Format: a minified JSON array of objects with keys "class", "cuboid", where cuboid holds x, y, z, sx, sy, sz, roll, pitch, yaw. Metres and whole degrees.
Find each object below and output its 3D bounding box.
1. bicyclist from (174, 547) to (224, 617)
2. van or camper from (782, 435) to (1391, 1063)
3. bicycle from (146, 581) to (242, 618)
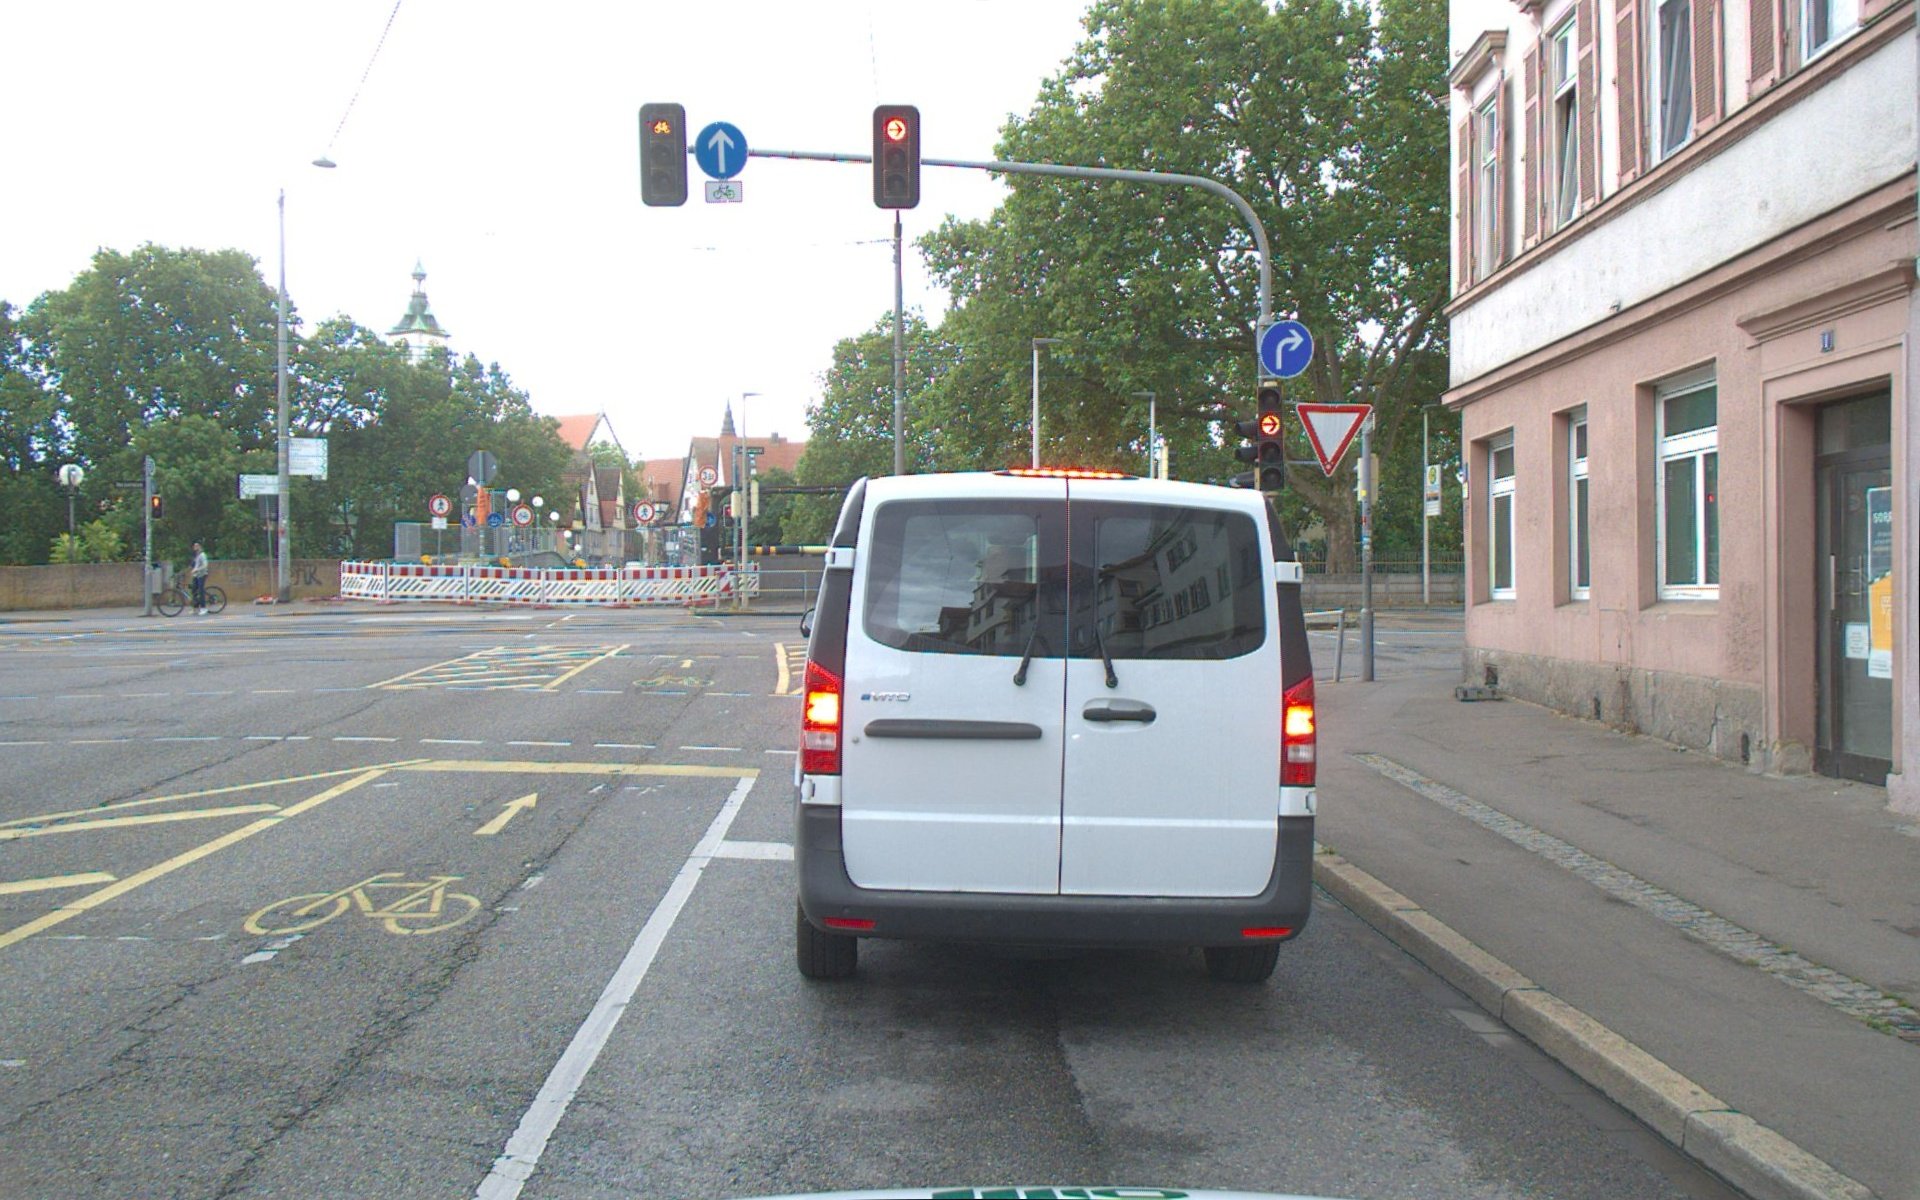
[{"class":"bicyclist","cuboid":[-19.624,-0.480,42.648,0.996,1.774,0.743,-1,1,-42]},{"class":"van or camper","cuboid":[0.263,0.402,7.425,1.899,1.958,4.438,1,2,-4]},{"class":"bicycle","cuboid":[-19.717,-0.028,42.587,2.120,0.907,0.749,-1,2,-42]}]
